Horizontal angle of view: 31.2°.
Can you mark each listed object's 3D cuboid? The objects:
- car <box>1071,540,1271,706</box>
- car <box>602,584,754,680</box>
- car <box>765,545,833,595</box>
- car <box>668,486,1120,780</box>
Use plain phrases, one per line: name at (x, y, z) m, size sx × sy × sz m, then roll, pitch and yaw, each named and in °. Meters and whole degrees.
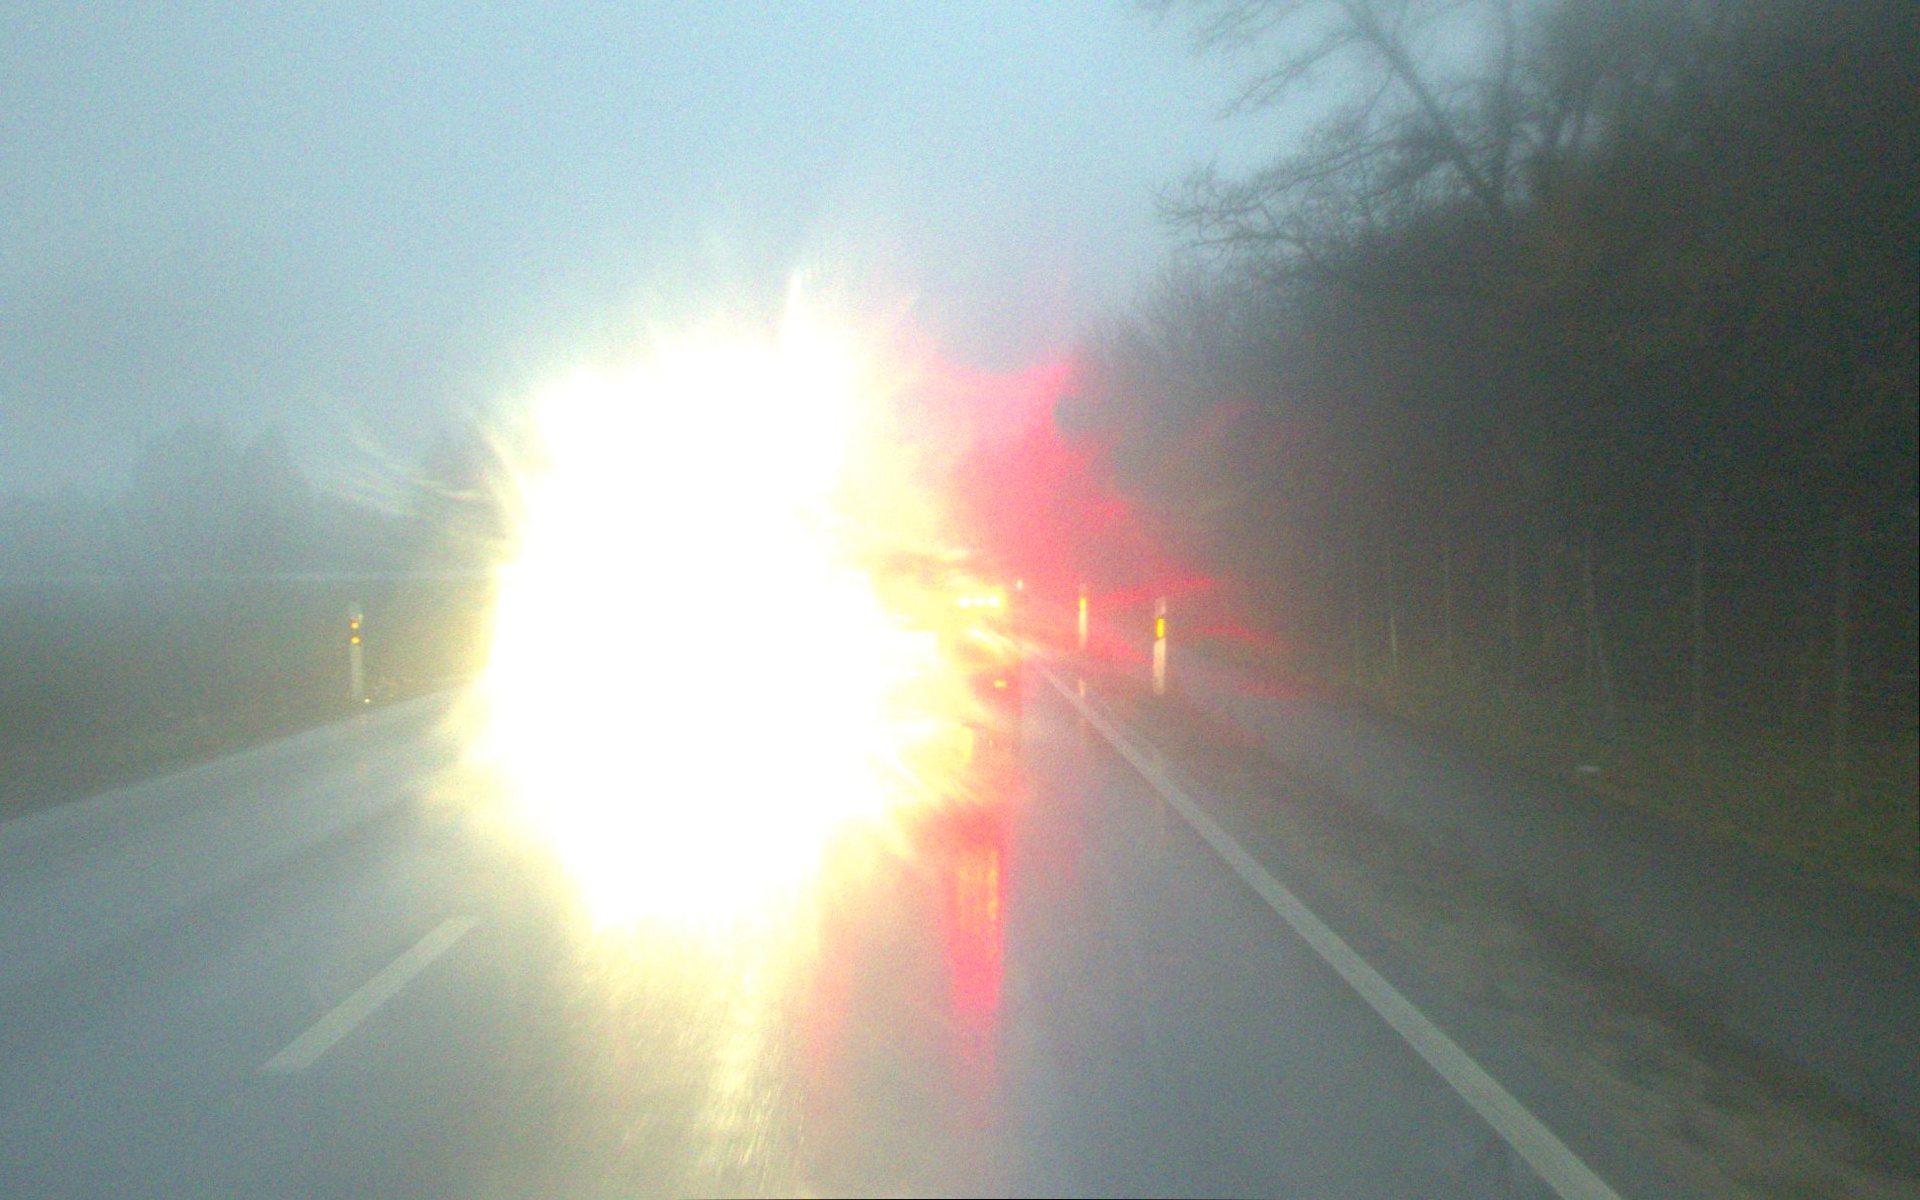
car at (2.301, 0.227, 38.486) m, size 1.928 × 1.744 × 4.000 m, roll 1°, pitch 0°, yaw -1°
car at (-4.257, 0.457, 52.469) m, size 1.993 × 1.367 × 4.398 m, roll 1°, pitch 0°, yaw -1°
car at (-5.314, -0.988, 113.833) m, size 1.993 × 1.458 × 4.352 m, roll -4°, pitch 1°, yaw -1°
car at (-0.494, 0.172, 27.728) m, size 3.164 × 2.028 × 6.852 m, roll -1°, pitch 1°, yaw 0°
